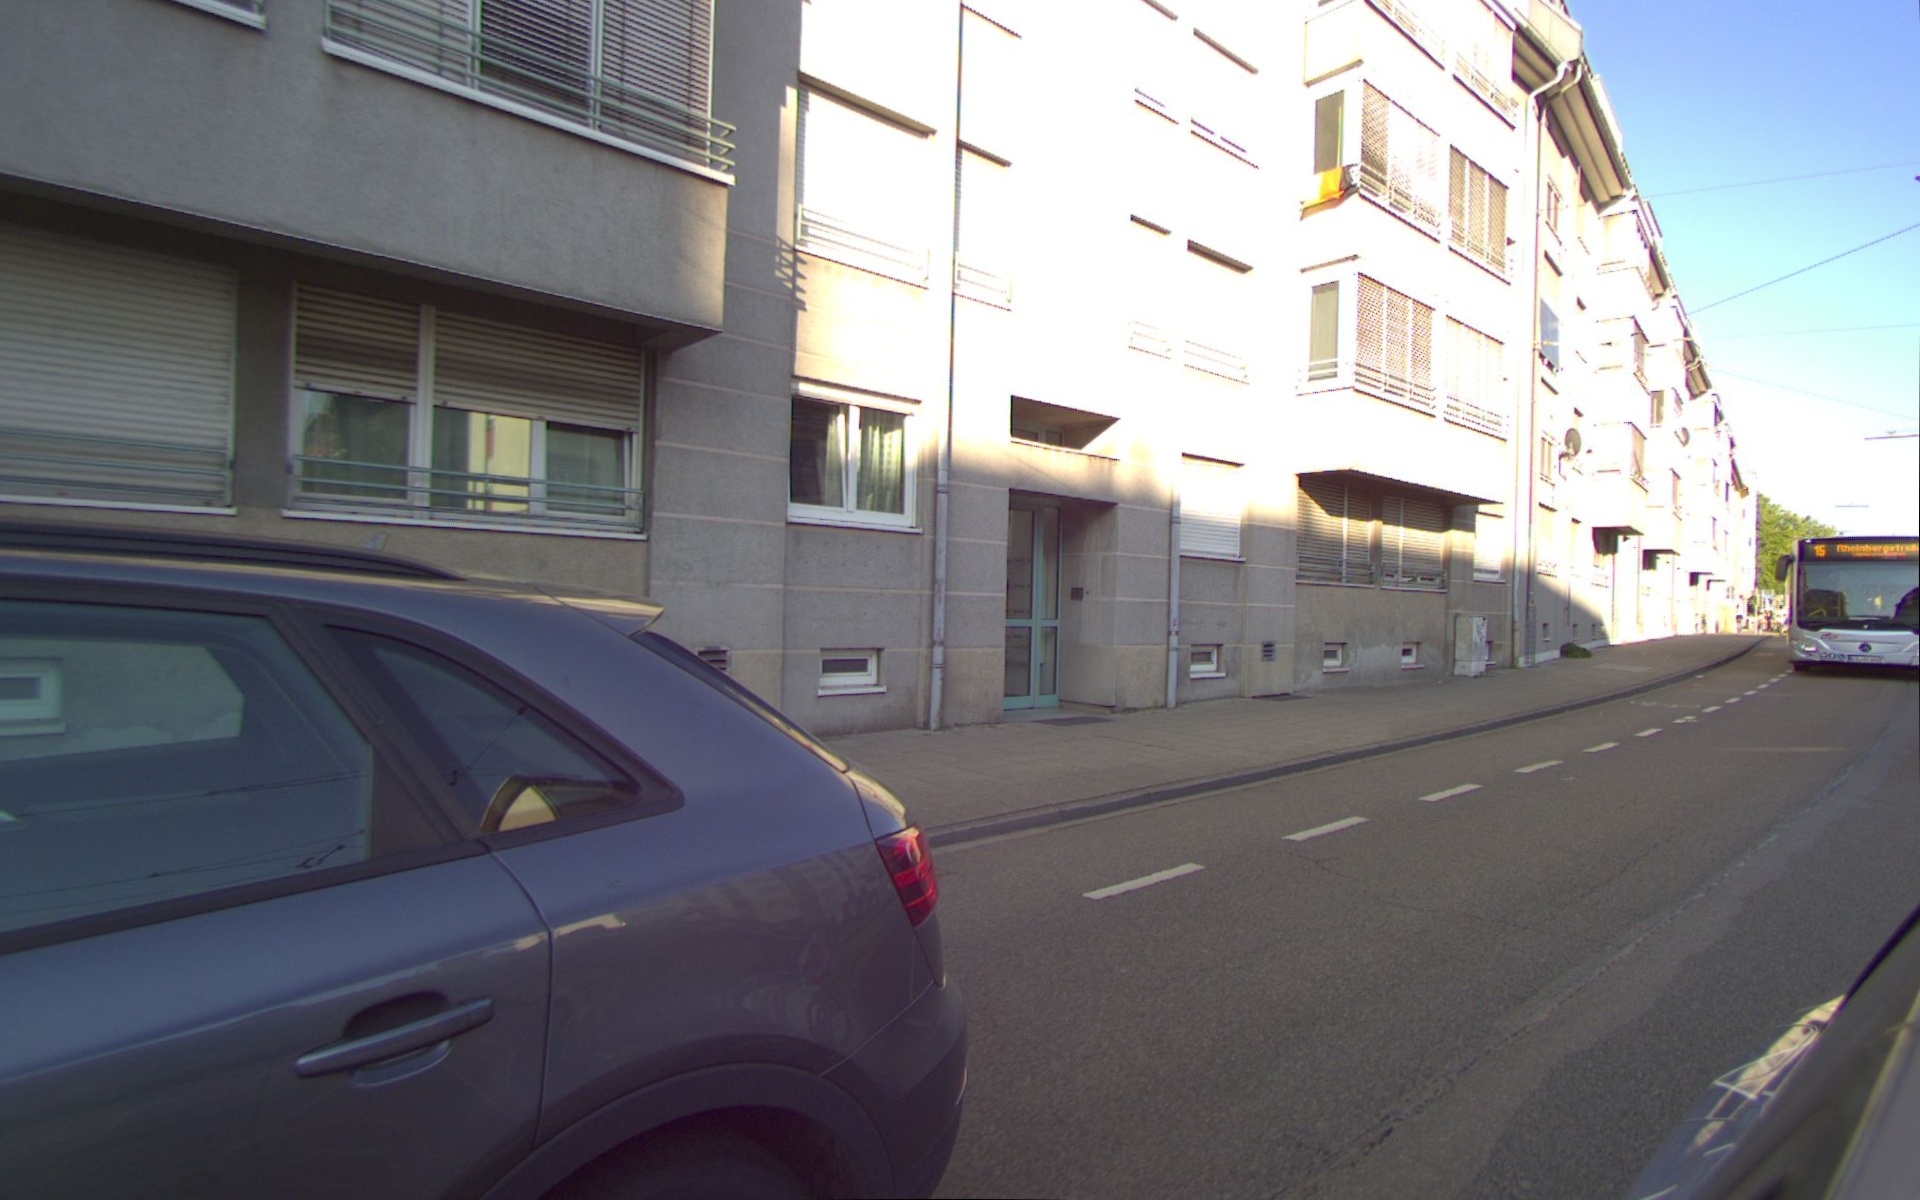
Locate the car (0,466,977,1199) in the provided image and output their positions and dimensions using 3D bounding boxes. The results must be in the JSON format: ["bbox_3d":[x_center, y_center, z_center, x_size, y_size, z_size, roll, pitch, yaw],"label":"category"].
[{"bbox_3d":[-2.049,0.650,1.047,3.998,1.607,1.769,1,0,-42],"label":"car"}]

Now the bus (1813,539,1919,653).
[{"bbox_3d":[29.112,-0.054,32.115,2.704,3.116,10.436,-1,-1,42],"label":"bus"}]

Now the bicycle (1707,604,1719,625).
[{"bbox_3d":[38.042,0.726,51.139,0.359,1.044,1.705,5,2,39],"label":"bicycle"}]

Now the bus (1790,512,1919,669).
[{"bbox_3d":[22.088,-0.133,24.361,2.723,3.116,10.436,-1,-1,42],"label":"bus"}]

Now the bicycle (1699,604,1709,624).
[{"bbox_3d":[37.777,0.718,51.379,0.278,0.983,1.705,5,2,39],"label":"bicycle"}]
